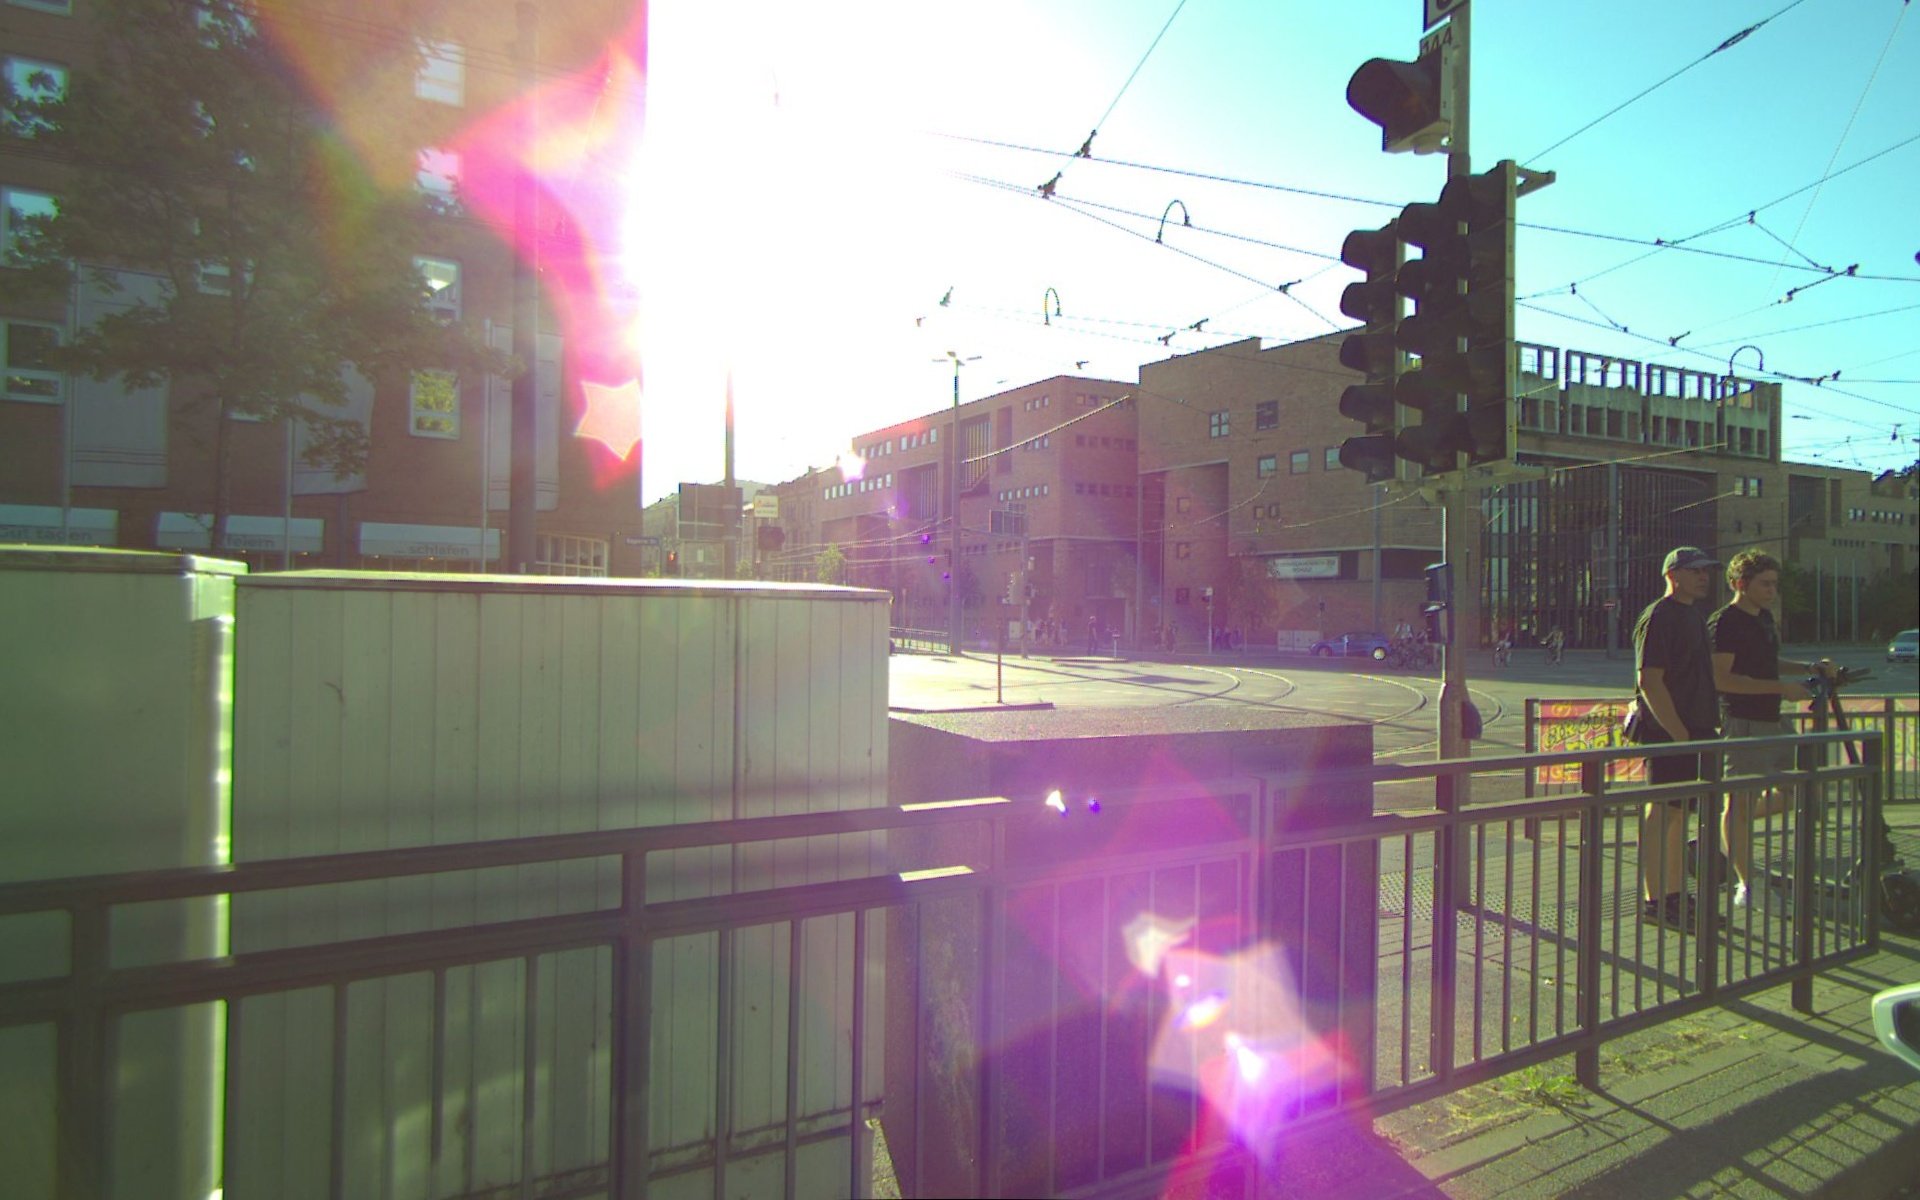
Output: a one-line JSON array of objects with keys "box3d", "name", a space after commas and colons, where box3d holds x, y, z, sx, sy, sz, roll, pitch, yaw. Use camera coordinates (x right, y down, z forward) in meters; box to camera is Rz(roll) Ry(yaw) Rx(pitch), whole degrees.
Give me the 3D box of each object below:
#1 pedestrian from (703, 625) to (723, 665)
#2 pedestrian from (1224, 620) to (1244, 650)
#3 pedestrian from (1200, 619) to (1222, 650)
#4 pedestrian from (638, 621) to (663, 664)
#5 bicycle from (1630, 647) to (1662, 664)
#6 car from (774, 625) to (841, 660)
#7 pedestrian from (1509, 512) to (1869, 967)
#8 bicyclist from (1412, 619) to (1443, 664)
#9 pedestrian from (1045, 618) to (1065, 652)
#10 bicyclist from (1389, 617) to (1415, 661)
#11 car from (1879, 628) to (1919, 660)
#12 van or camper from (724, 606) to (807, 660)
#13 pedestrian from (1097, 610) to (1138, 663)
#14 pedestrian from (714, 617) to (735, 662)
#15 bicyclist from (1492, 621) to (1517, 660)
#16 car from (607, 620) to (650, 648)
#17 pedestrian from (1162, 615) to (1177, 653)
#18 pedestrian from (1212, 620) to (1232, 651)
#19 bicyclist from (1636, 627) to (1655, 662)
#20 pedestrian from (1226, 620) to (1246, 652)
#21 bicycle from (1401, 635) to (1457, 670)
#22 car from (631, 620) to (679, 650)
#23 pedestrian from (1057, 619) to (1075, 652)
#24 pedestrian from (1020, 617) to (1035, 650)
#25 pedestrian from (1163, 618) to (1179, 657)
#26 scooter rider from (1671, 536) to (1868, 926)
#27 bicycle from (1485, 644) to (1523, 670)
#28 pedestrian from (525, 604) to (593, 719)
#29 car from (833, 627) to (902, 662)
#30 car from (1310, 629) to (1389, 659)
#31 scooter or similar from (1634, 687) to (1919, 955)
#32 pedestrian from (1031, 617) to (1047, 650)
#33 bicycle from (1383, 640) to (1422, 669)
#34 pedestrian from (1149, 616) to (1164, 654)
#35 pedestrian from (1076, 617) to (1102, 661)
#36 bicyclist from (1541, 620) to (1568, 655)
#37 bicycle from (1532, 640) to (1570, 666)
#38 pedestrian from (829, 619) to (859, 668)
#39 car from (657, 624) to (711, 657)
[{"box3d": [-11.716, 2.123, 47.636, 0.597, 1.843, 0.848, 1, -1, -38], "name": "pedestrian"}, {"box3d": [18.955, 2.435, 69.453, 0.841, 2.079, 1.001, 1, -1, -32], "name": "pedestrian"}, {"box3d": [16.838, 2.291, 67.400, 0.902, 2.040, 1.151, 1, -1, -34], "name": "pedestrian"}, {"box3d": [-12.657, 1.732, 41.095, 0.857, 1.775, 0.672, 1, -1, -30], "name": "pedestrian"}, {"box3d": [32.880, 2.670, 48.128, 1.948, 0.781, 0.586, 1, -2, -35], "name": "bicycle"}, {"box3d": [-7.806, 2.144, 51.180, 1.978, 1.709, 3.965, 1, -2, -33], "name": "car"}, {"box3d": [3.517, 0.604, 4.935, 0.843, 1.908, 1.164, 1, -1, -25], "name": "pedestrian"}, {"box3d": [16.965, 1.497, 36.447, 0.748, 1.581, 0.680, -1, 0, -25], "name": "bicyclist"}, {"box3d": [5.676, 2.105, 60.044, 0.917, 2.010, 0.780, 1, -1, -32], "name": "pedestrian"}, {"box3d": [16.355, 1.433, 37.158, 0.753, 1.595, 0.654, 1, -2, -42], "name": "bicyclist"}, {"box3d": [48.944, 2.259, 51.750, 3.962, 1.598, 1.610, 1, -2, -36], "name": "car"}, {"box3d": [-9.345, 1.567, 47.920, 1.981, 2.451, 4.980, 1, -2, -36], "name": "van or camper"}, {"box3d": [6.260, 1.444, 39.859, 1.193, 2.040, 1.028, 2, 0, -30], "name": "pedestrian"}, {"box3d": [-10.690, 1.783, 45.624, 0.597, 2.040, 0.848, 1, -1, -38], "name": "pedestrian"}, {"box3d": [22.442, 1.649, 41.417, 0.752, 1.590, 0.656, 1, -2, -37], "name": "bicyclist"}, {"box3d": [-21.574, 2.212, 65.336, 1.738, 1.750, 3.965, 1, -2, -32], "name": "car"}, {"box3d": [11.384, 1.866, 54.611, 0.603, 2.040, 0.731, 0, -1, 30], "name": "pedestrian"}, {"box3d": [17.807, 2.388, 68.261, 0.841, 2.079, 1.001, 1, -1, -32], "name": "pedestrian"}, {"box3d": [32.826, 2.119, 48.101, 0.509, 1.647, 0.583, 1, -1, -35], "name": "bicyclist"}, {"box3d": [18.496, 2.403, 67.227, 0.841, 2.079, 1.001, 1, -1, -32], "name": "pedestrian"}, {"box3d": [17.018, 1.902, 36.462, 2.082, 1.157, 0.683, -1, 0, -26], "name": "bicycle"}, {"box3d": [-18.216, 2.061, 59.937, 1.738, 1.750, 3.965, 1, -2, -32], "name": "car"}, {"box3d": [6.367, 2.128, 60.528, 0.742, 2.010, 0.780, 1, -1, -32], "name": "pedestrian"}, {"box3d": [4.171, 2.046, 62.081, 0.607, 2.040, 0.727, 1, -1, -32], "name": "pedestrian"}, {"box3d": [11.025, 1.957, 52.409, 0.603, 2.040, 0.731, 0, -1, 30], "name": "pedestrian"}, {"box3d": [4.220, 0.648, 5.247, 0.670, 1.877, 0.564, 3, -2, -25], "name": "scooter rider"}, {"box3d": [22.415, 2.333, 41.386, 1.884, 1.011, 0.688, 1, -2, -37], "name": "bicycle"}, {"box3d": [-6.659, 0.995, 16.652, 0.945, 1.822, 0.986, 2, 0, -26], "name": "pedestrian"}, {"box3d": [-4.816, 2.237, 51.804, 1.978, 1.709, 3.965, 1, -2, -33], "name": "car"}, {"box3d": [19.363, 2.162, 50.024, 3.643, 1.394, 1.586, 0, -1, 21], "name": "car"}, {"box3d": [4.252, 1.036, 5.122, 0.639, 1.095, 1.199, 1, -1, -25], "name": "scooter or similar"}, {"box3d": [4.872, 2.071, 62.027, 0.644, 2.040, 0.780, 1, -1, -32], "name": "pedestrian"}, {"box3d": [16.415, 2.008, 37.237, 1.887, 1.011, 0.647, 2, -2, -42], "name": "bicycle"}, {"box3d": [10.753, 1.911, 54.993, 0.603, 2.040, 0.731, 0, -1, 30], "name": "pedestrian"}, {"box3d": [5.717, 1.719, 44.519, 0.866, 1.927, 0.718, 2, 0, -33], "name": "pedestrian"}, {"box3d": [25.984, 1.655, 43.902, 1.022, 1.494, 0.649, 2, -1, -35], "name": "bicyclist"}, {"box3d": [25.728, 2.299, 43.724, 1.993, 1.064, 0.647, 2, -1, -35], "name": "bicycle"}, {"box3d": [-4.254, 1.582, 36.732, 0.860, 1.775, 0.670, 1, -2, -39], "name": "pedestrian"}, {"box3d": [-15.101, 2.171, 54.880, 1.739, 1.750, 3.963, 1, -2, -33], "name": "car"}]
